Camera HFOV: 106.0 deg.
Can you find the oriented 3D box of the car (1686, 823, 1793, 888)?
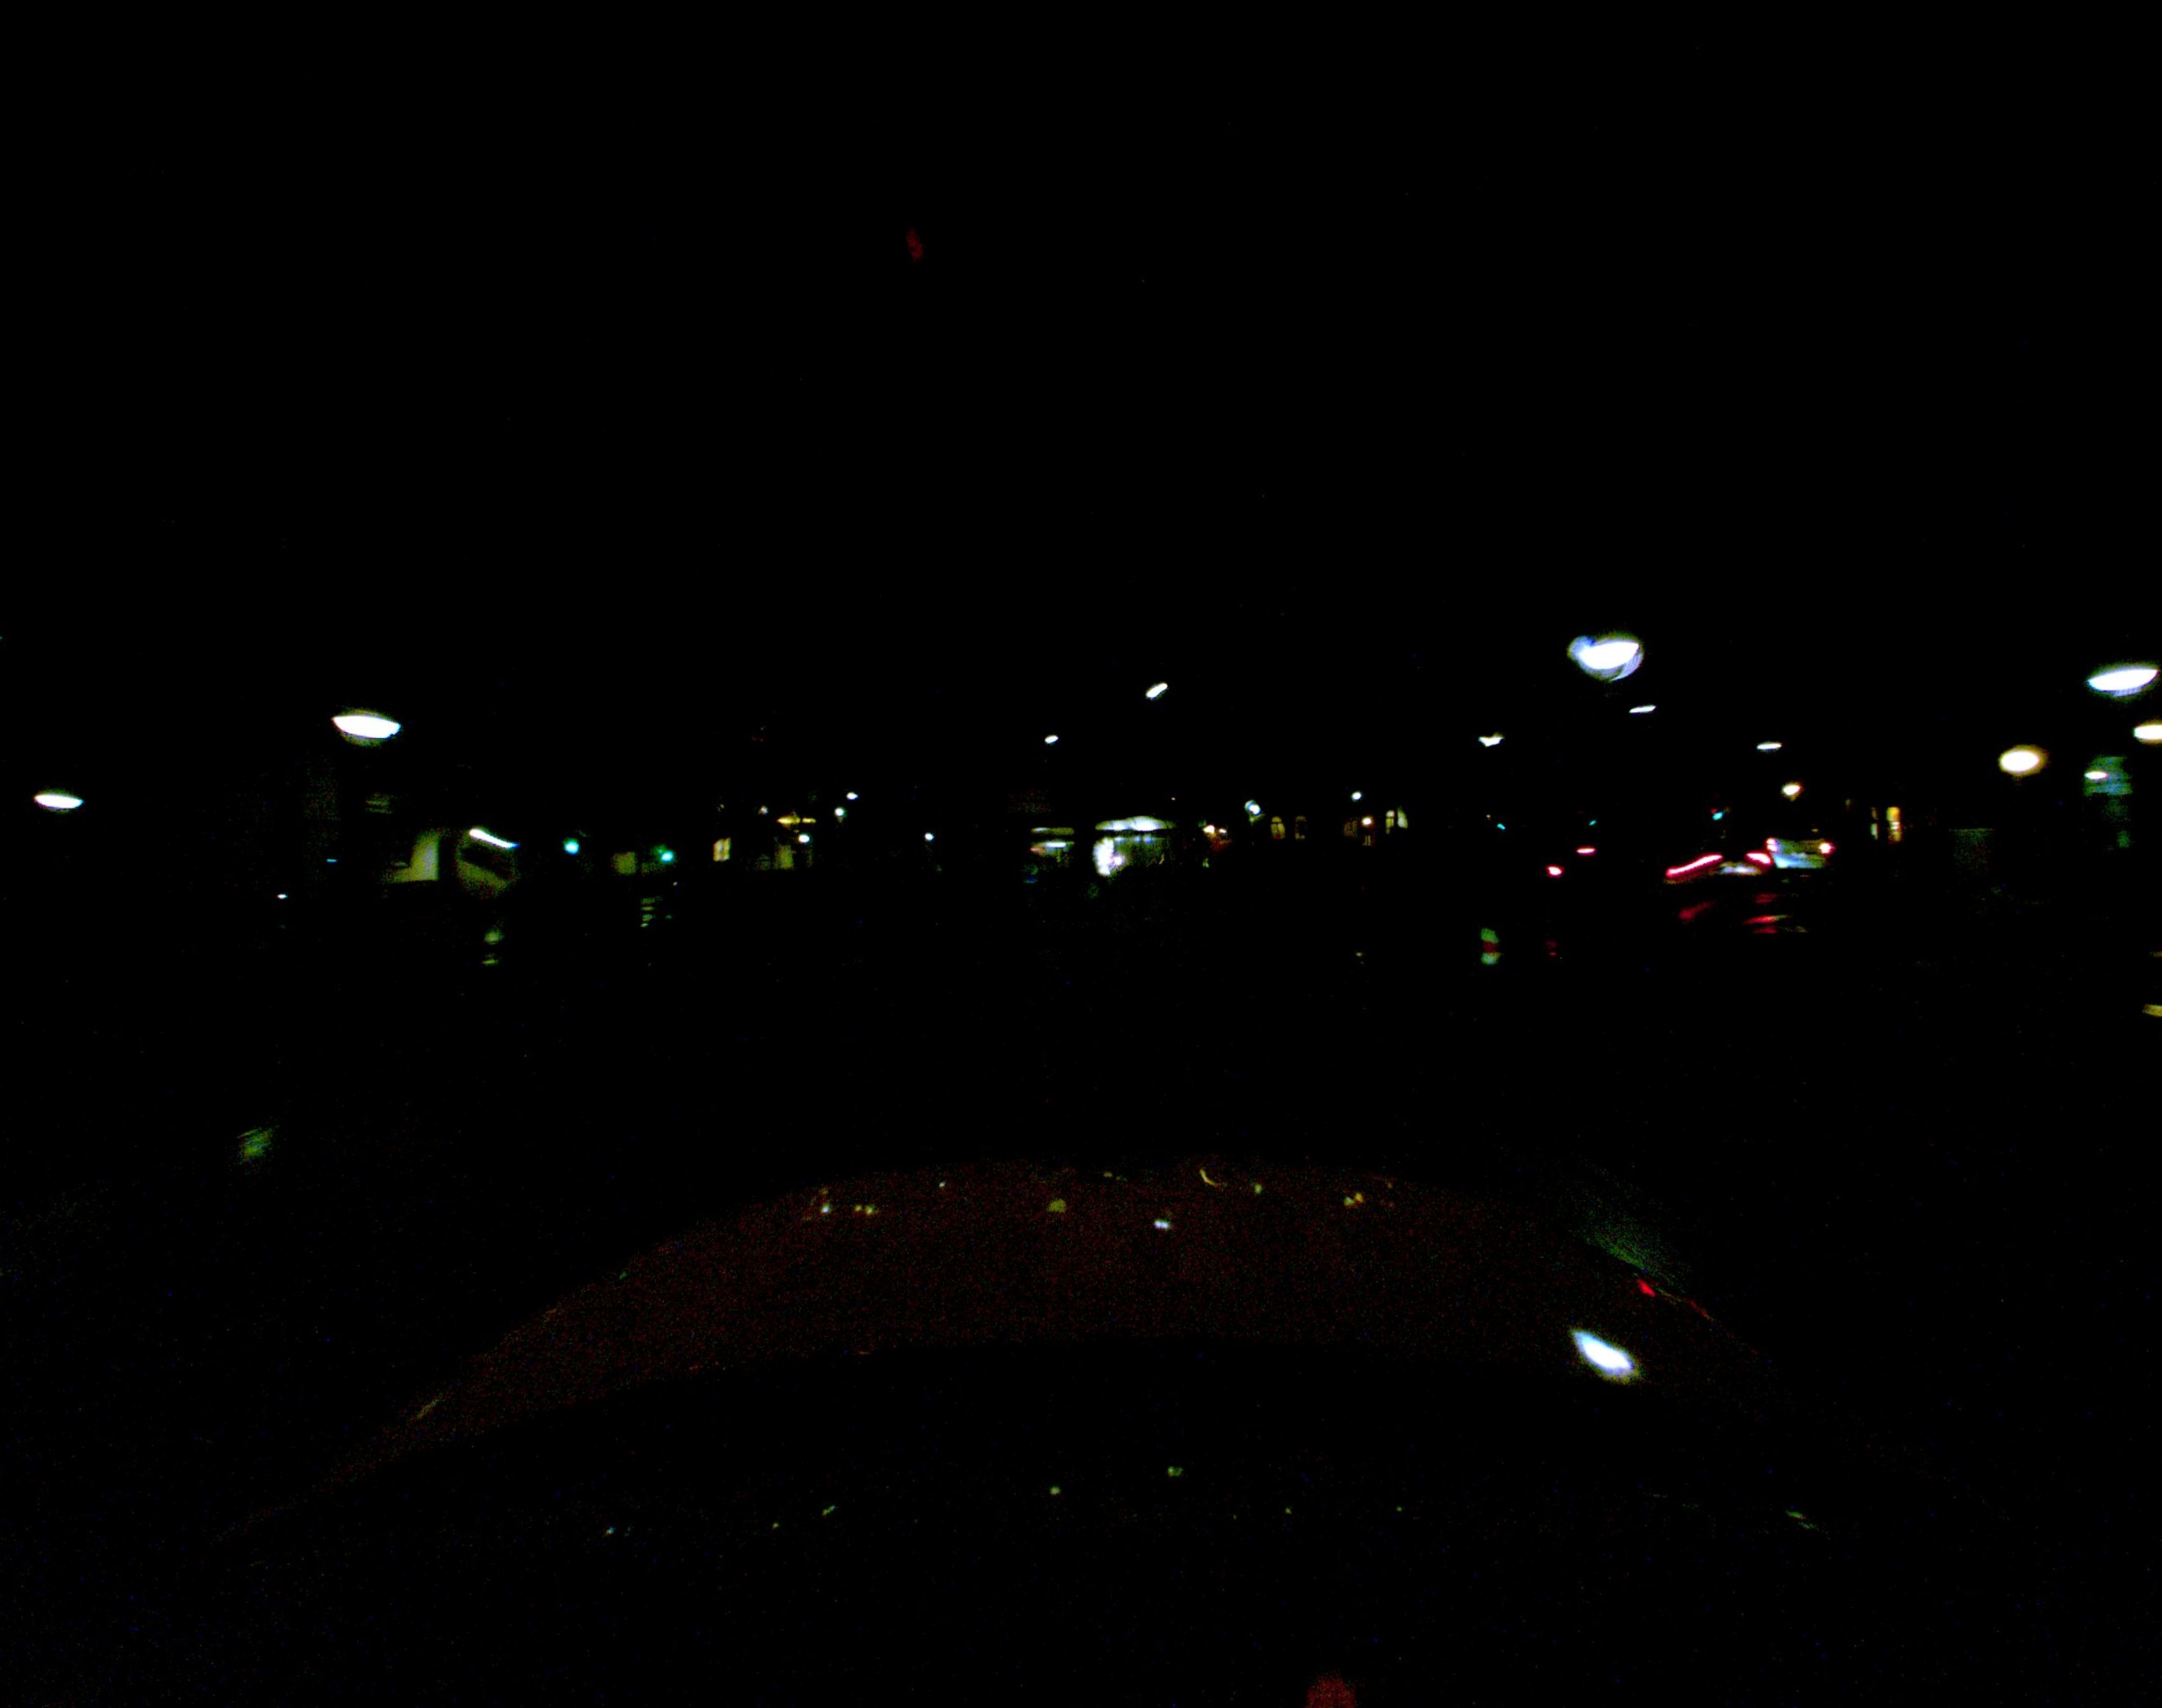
[{"bbox_3d":[19.143,0.060,23.620,4.023,1.728,1.975,1,-1,-45],"label":"car"}]

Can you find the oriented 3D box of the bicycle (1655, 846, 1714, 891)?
[{"bbox_3d":[15.950,0.368,21.515,1.723,1.149,0.768,1,-1,-35],"label":"bicycle"}]

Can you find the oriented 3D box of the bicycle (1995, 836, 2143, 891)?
[{"bbox_3d":[20.399,0.205,16.859,0.453,1.059,1.915,-2,0,-37],"label":"bicycle"}]

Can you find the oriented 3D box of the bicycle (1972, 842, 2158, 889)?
[{"bbox_3d":[23.155,0.272,19.246,0.728,1.026,2.745,-2,0,-37],"label":"bicycle"}]

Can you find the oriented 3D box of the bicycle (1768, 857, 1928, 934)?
[{"bbox_3d":[11.376,0.595,12.136,0.452,1.059,1.646,-2,0,-32],"label":"bicycle"}]

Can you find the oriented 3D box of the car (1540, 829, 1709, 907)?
[{"bbox_3d":[12.237,0.307,18.319,3.469,1.613,1.721,1,-1,-28],"label":"car"}]

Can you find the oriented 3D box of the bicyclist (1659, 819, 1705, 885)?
[{"bbox_3d":[15.783,-0.045,21.398,0.710,1.675,0.791,1,-1,-35],"label":"bicyclist"}]

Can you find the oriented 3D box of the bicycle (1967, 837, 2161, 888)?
[{"bbox_3d":[21.538,0.181,17.887,0.728,1.026,2.745,-2,0,-37],"label":"bicycle"}]

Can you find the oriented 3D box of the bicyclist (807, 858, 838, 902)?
[{"bbox_3d":[-8.165,0.811,25.697,0.895,1.380,0.501,1,-1,-22],"label":"bicyclist"}]

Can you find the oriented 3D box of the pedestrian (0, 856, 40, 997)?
[{"bbox_3d":[-14.368,0.937,10.772,0.934,1.820,0.699,0,-1,37],"label":"pedestrian"}]

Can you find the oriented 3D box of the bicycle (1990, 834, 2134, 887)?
[{"bbox_3d":[20.801,0.148,17.312,0.453,1.059,1.915,-2,0,-37],"label":"bicycle"}]

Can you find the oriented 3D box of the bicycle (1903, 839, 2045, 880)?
[{"bbox_3d":[26.188,0.158,23.942,0.728,1.129,2.745,-2,0,-37],"label":"bicycle"}]

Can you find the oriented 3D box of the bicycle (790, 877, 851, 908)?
[{"bbox_3d":[-8.203,1.196,25.677,1.785,0.931,0.496,1,-1,-23],"label":"bicycle"}]

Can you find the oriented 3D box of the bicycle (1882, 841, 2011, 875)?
[{"bbox_3d":[27.863,0.135,26.279,2.740,1.026,0.730,-2,0,30],"label":"bicycle"}]

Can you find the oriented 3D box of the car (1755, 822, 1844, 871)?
[{"bbox_3d":[26.846,-0.246,30.573,1.974,1.728,4.025,0,0,34],"label":"car"}]

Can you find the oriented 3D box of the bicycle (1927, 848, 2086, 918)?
[{"bbox_3d":[15.083,0.456,13.324,0.452,1.059,1.646,-2,0,-32],"label":"bicycle"}]

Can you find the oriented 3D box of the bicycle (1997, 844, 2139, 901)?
[{"bbox_3d":[19.377,0.354,16.036,0.452,1.059,1.718,-2,0,-32],"label":"bicycle"}]

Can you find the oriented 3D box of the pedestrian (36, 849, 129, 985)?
[{"bbox_3d":[-14.042,0.841,11.454,0.934,1.820,0.698,0,-1,33],"label":"pedestrian"}]

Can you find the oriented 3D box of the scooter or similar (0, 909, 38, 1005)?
[{"bbox_3d":[-13.597,1.287,10.236,0.921,1.126,0.576,0,-1,39],"label":"scooter or similar"}]

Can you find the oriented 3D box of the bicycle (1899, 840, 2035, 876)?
[{"bbox_3d":[27.248,0.125,25.120,2.742,1.026,0.729,-2,0,25],"label":"bicycle"}]
